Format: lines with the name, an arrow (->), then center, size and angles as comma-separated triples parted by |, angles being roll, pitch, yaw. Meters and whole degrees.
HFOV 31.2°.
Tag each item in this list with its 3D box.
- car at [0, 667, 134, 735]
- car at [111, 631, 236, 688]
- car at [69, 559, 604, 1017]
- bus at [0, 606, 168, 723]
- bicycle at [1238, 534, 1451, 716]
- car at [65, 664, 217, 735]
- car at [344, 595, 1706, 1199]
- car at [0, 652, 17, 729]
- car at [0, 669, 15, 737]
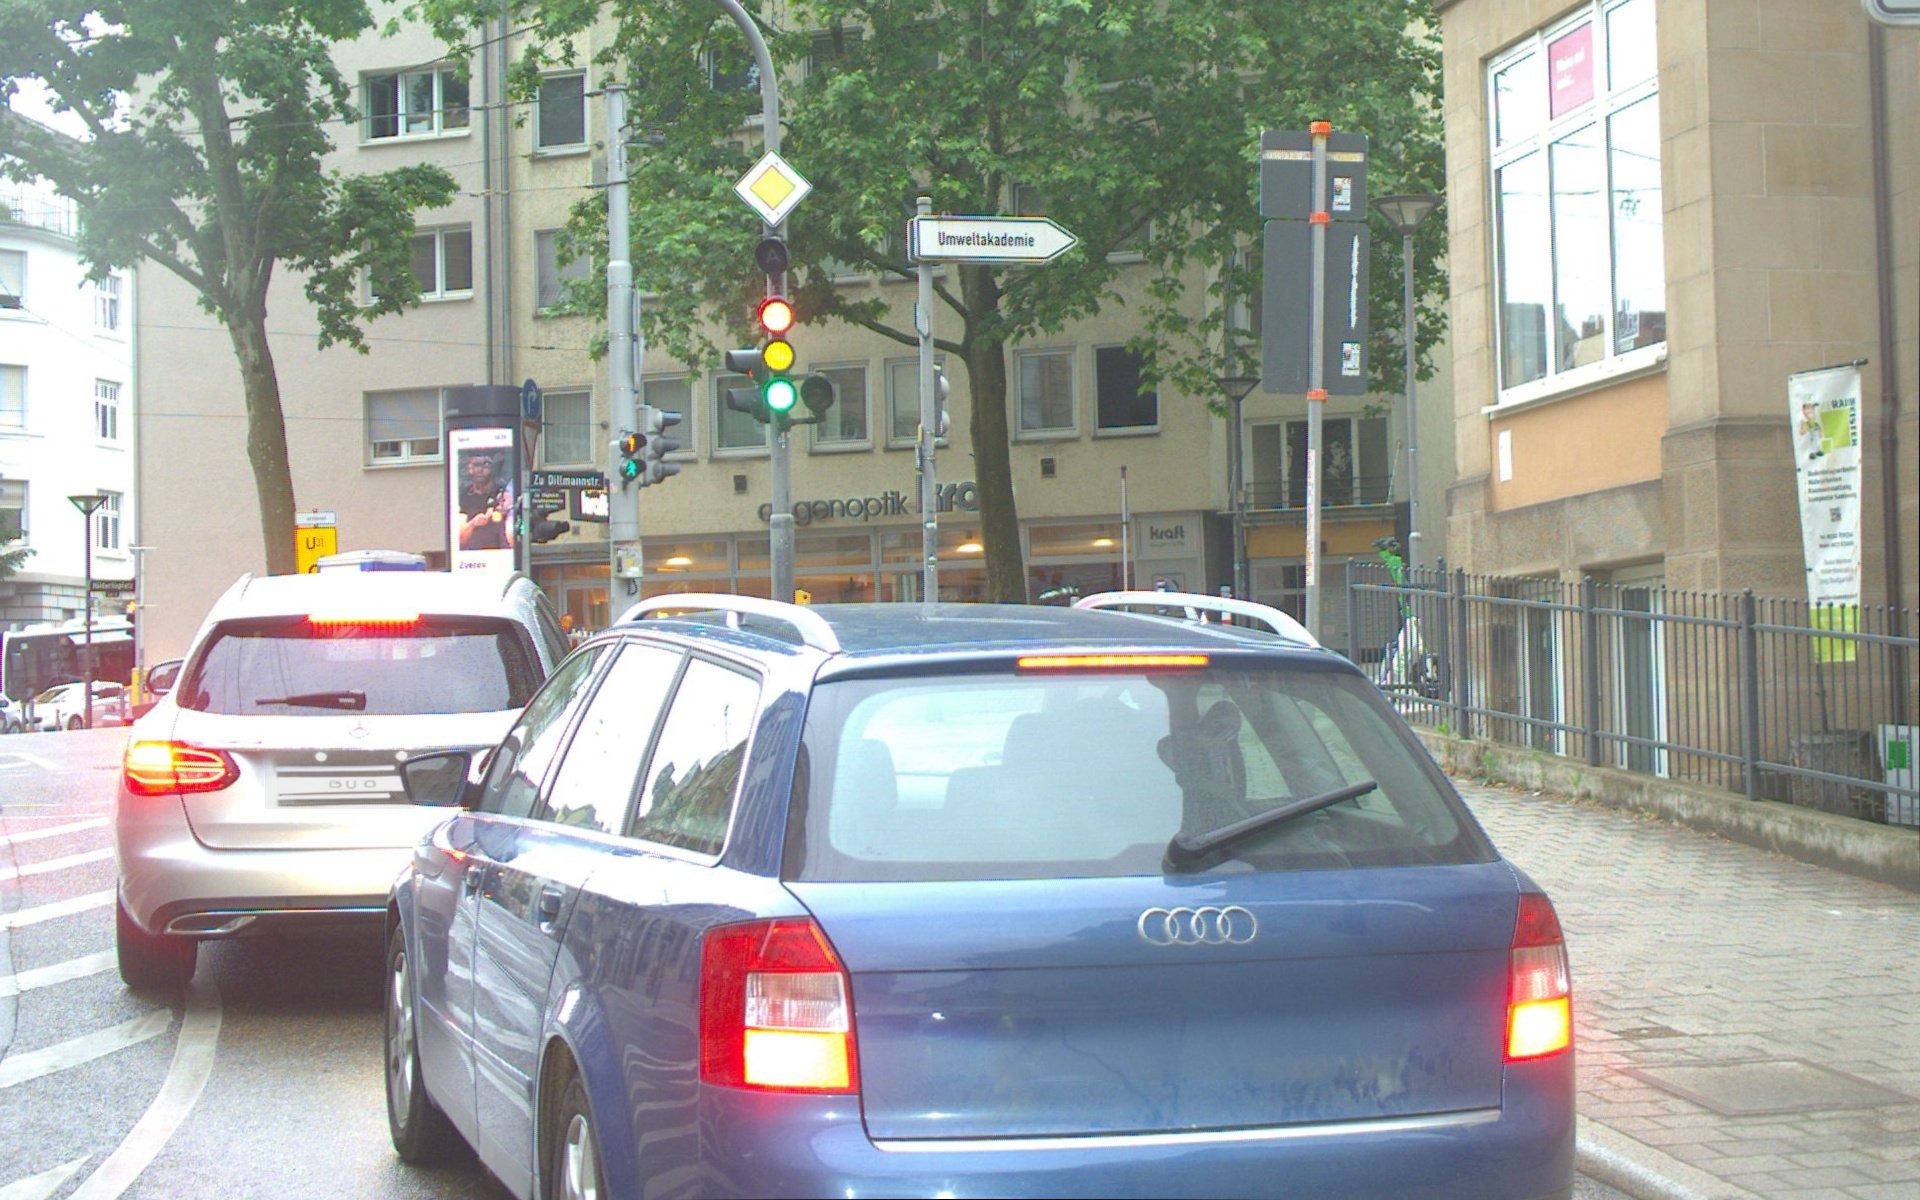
car -> -23.023, 2.570, 88.053 | 1.796, 1.505, 3.997 | -1, 1, 17
car -> -23.274, 1.744, 101.872 | 1.796, 1.505, 3.997 | -1, 1, 17
car -> -2.252, 0.584, 12.930 | 1.710, 1.451, 3.554 | 0, 1, -8
bus -> -25.128, 1.727, 94.458 | 2.856, 2.851, 8.728 | -1, 1, 14
bicycle -> 2.644, 0.164, 23.673 | 1.300, 1.169, 0.526 | -3, 1, -12
car -> -20.365, 2.466, 85.696 | 1.795, 1.505, 4.663 | -1, 1, 13
car -> -0.199, 0.729, 7.220 | 1.710, 1.410, 4.037 | 0, 1, -17
car -> -20.027, 1.890, 67.772 | 1.794, 1.505, 4.000 | -4, 1, -1
car -> -24.678, 2.577, 82.781 | 1.796, 1.609, 3.997 | -1, 1, 17
